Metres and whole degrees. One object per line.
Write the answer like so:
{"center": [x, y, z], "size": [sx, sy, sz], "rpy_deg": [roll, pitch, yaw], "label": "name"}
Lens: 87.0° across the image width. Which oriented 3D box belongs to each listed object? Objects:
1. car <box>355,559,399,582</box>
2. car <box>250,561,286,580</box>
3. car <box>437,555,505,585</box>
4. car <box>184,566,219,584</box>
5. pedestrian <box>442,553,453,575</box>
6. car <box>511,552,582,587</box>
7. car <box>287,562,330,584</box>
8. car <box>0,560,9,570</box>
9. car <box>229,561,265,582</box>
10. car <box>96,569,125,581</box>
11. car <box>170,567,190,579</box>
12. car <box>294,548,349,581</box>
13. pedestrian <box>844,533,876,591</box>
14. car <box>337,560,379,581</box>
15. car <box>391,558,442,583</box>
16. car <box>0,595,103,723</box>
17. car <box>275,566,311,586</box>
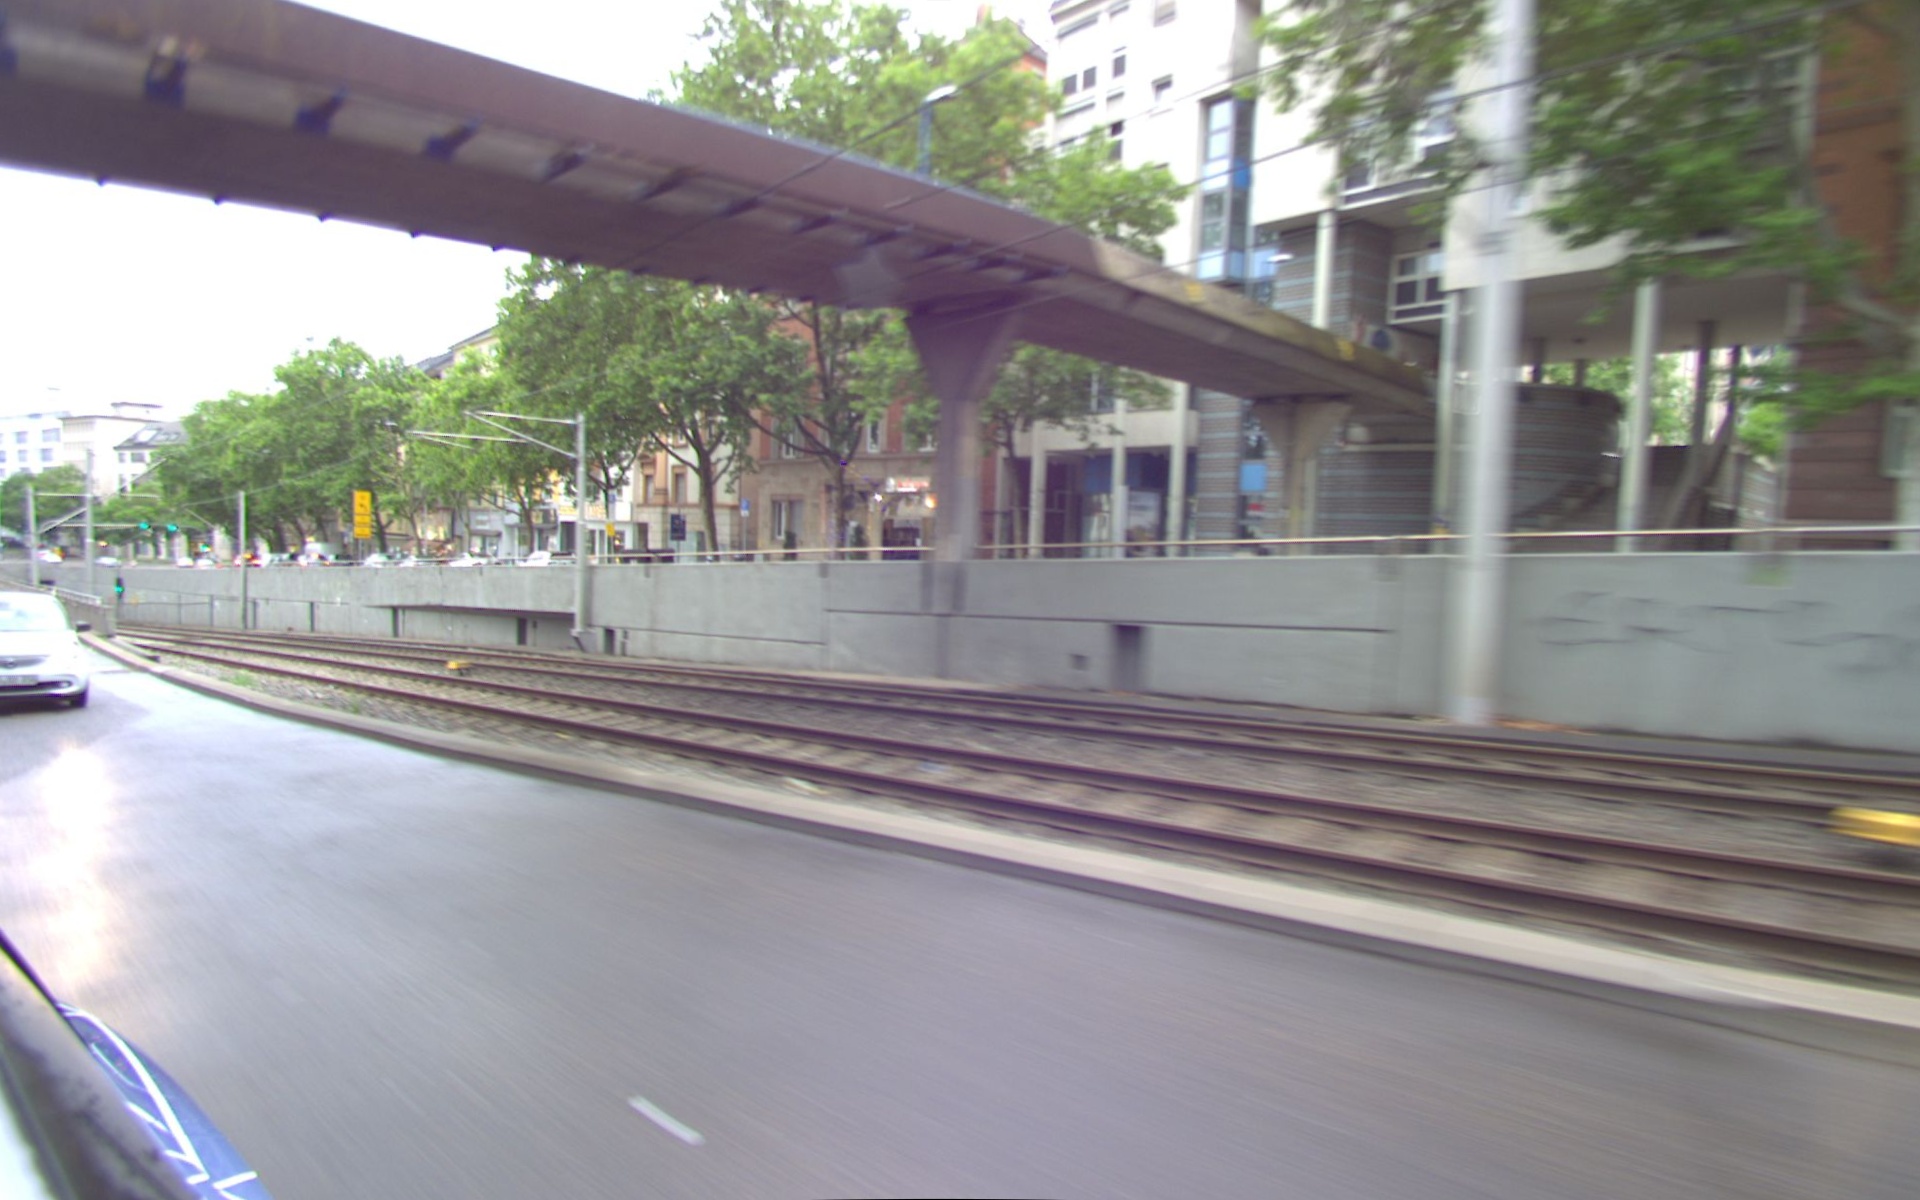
{"center": [-42.680, -2.168, 74.092], "size": [1.774, 1.582, 4.211], "rpy_deg": [-4, 4, -44], "label": "car"}
{"center": [-70.199, -2.988, 102.630], "size": [4.899, 1.777, 1.857], "rpy_deg": [1, 4, 42], "label": "car"}
{"center": [-28.210, -1.735, 58.353], "size": [1.905, 1.613, 5.203], "rpy_deg": [-5, 4, -44], "label": "car"}
{"center": [-65.911, -2.167, 87.924], "size": [4.001, 1.521, 1.775], "rpy_deg": [1, 4, 44], "label": "car"}
{"center": [-40.676, -2.873, 80.329], "size": [0.516, 1.760, 0.623], "rpy_deg": [-6, 6, -37], "label": "pedestrian"}
{"center": [-20.539, -1.520, 50.189], "size": [4.114, 1.623, 1.774], "rpy_deg": [1, 4, 45], "label": "car"}
{"center": [-47.812, -1.966, 74.260], "size": [1.774, 1.521, 4.111], "rpy_deg": [-4, 4, -44], "label": "car"}
{"center": [-153.666, -5.571, 161.506], "size": [4.333, 1.521, 1.780], "rpy_deg": [2, 4, 34], "label": "car"}
{"center": [-66.828, -2.708, 94.835], "size": [1.934, 1.866, 4.972], "rpy_deg": [-4, 4, -43], "label": "car"}
{"center": [-115.340, -3.389, 137.371], "size": [4.877, 1.521, 2.007], "rpy_deg": [1, 4, 39], "label": "car"}
{"center": [-106.307, -3.711, 137.901], "size": [1.824, 1.521, 4.022], "rpy_deg": [-4, 4, -42], "label": "car"}
{"center": [-54.817, -3.057, 86.821], "size": [2.425, 2.682, 6.936], "rpy_deg": [-4, 4, -44], "label": "car"}
{"center": [-3.560, -1.373, 36.015], "size": [0.661, 2.028, 0.936], "rpy_deg": [-4, 5, -42], "label": "pedestrian"}
{"center": [-48.462, -2.378, 81.449], "size": [1.774, 1.521, 4.675], "rpy_deg": [-4, 4, -44], "label": "car"}
{"center": [-35.591, -1.917, 66.216], "size": [1.774, 1.521, 4.211], "rpy_deg": [-4, 4, -44], "label": "car"}
{"center": [-13.441, 0.735, 14.203], "size": [4.002, 1.548, 1.774], "rpy_deg": [2, 1, 44], "label": "car"}
{"center": [-62.972, -2.230, 95.552], "size": [1.856, 1.777, 4.904], "rpy_deg": [-4, 4, -45], "label": "car"}
